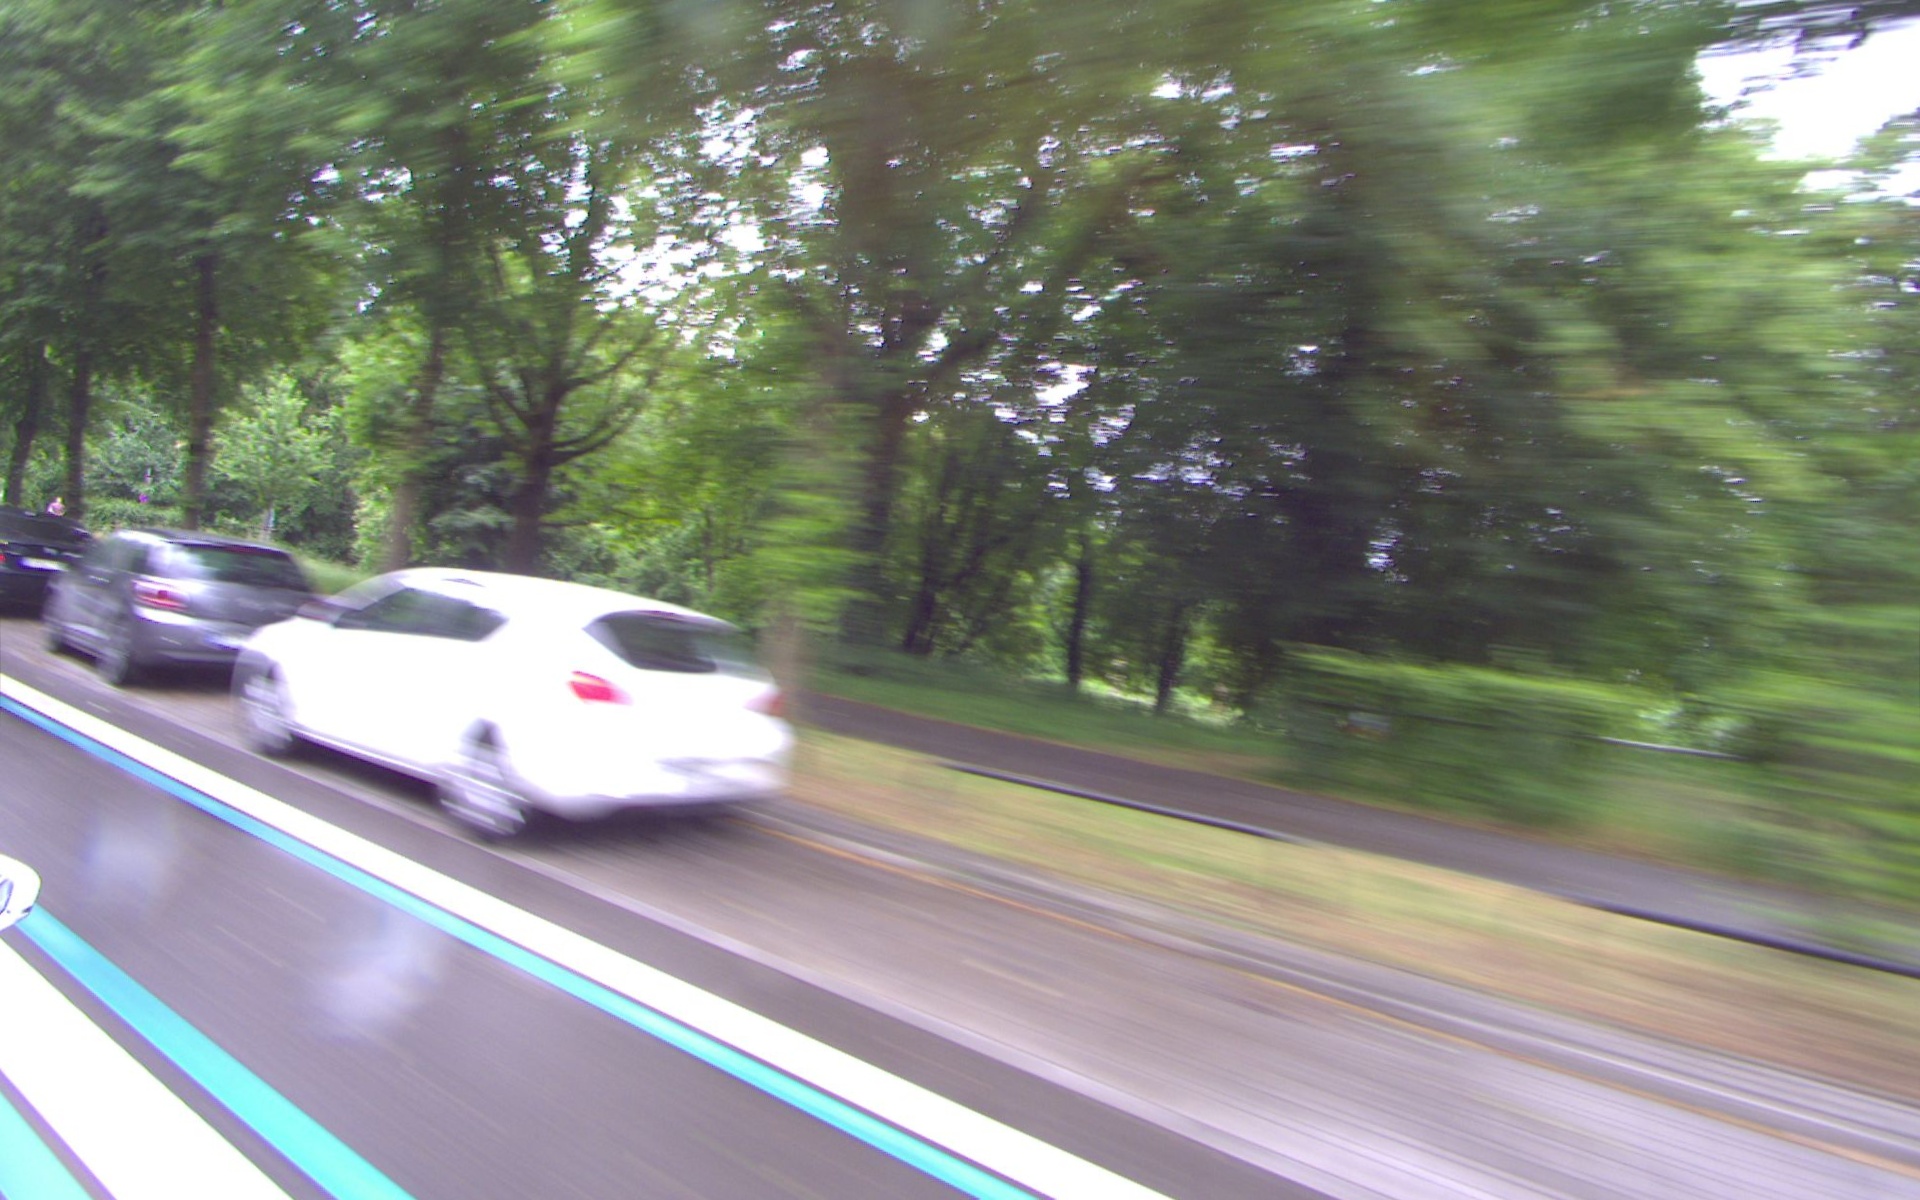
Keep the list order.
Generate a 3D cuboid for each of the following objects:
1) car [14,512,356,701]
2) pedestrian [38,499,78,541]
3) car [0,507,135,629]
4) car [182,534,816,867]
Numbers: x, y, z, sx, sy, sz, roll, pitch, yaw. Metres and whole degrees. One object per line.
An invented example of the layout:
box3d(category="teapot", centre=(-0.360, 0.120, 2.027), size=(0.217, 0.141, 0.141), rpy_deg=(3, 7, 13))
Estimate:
box3d(category="car", centre=(-8.237, 0.007, 10.555), size=(4.253, 1.444, 1.685), rpy_deg=(6, -3, 38))
box3d(category="pedestrian", centre=(-42.858, -3.791, 47.794), size=(1.125, 1.753, 0.890), rpy_deg=(7, -1, 24))
box3d(category="car", centre=(-13.893, -0.612, 14.502), size=(4.769, 1.423, 1.784), rpy_deg=(6, -3, 35))
box3d(category="car", centre=(-3.416, 0.527, 7.099), size=(4.576, 1.444, 1.863), rpy_deg=(6, -3, 35))
